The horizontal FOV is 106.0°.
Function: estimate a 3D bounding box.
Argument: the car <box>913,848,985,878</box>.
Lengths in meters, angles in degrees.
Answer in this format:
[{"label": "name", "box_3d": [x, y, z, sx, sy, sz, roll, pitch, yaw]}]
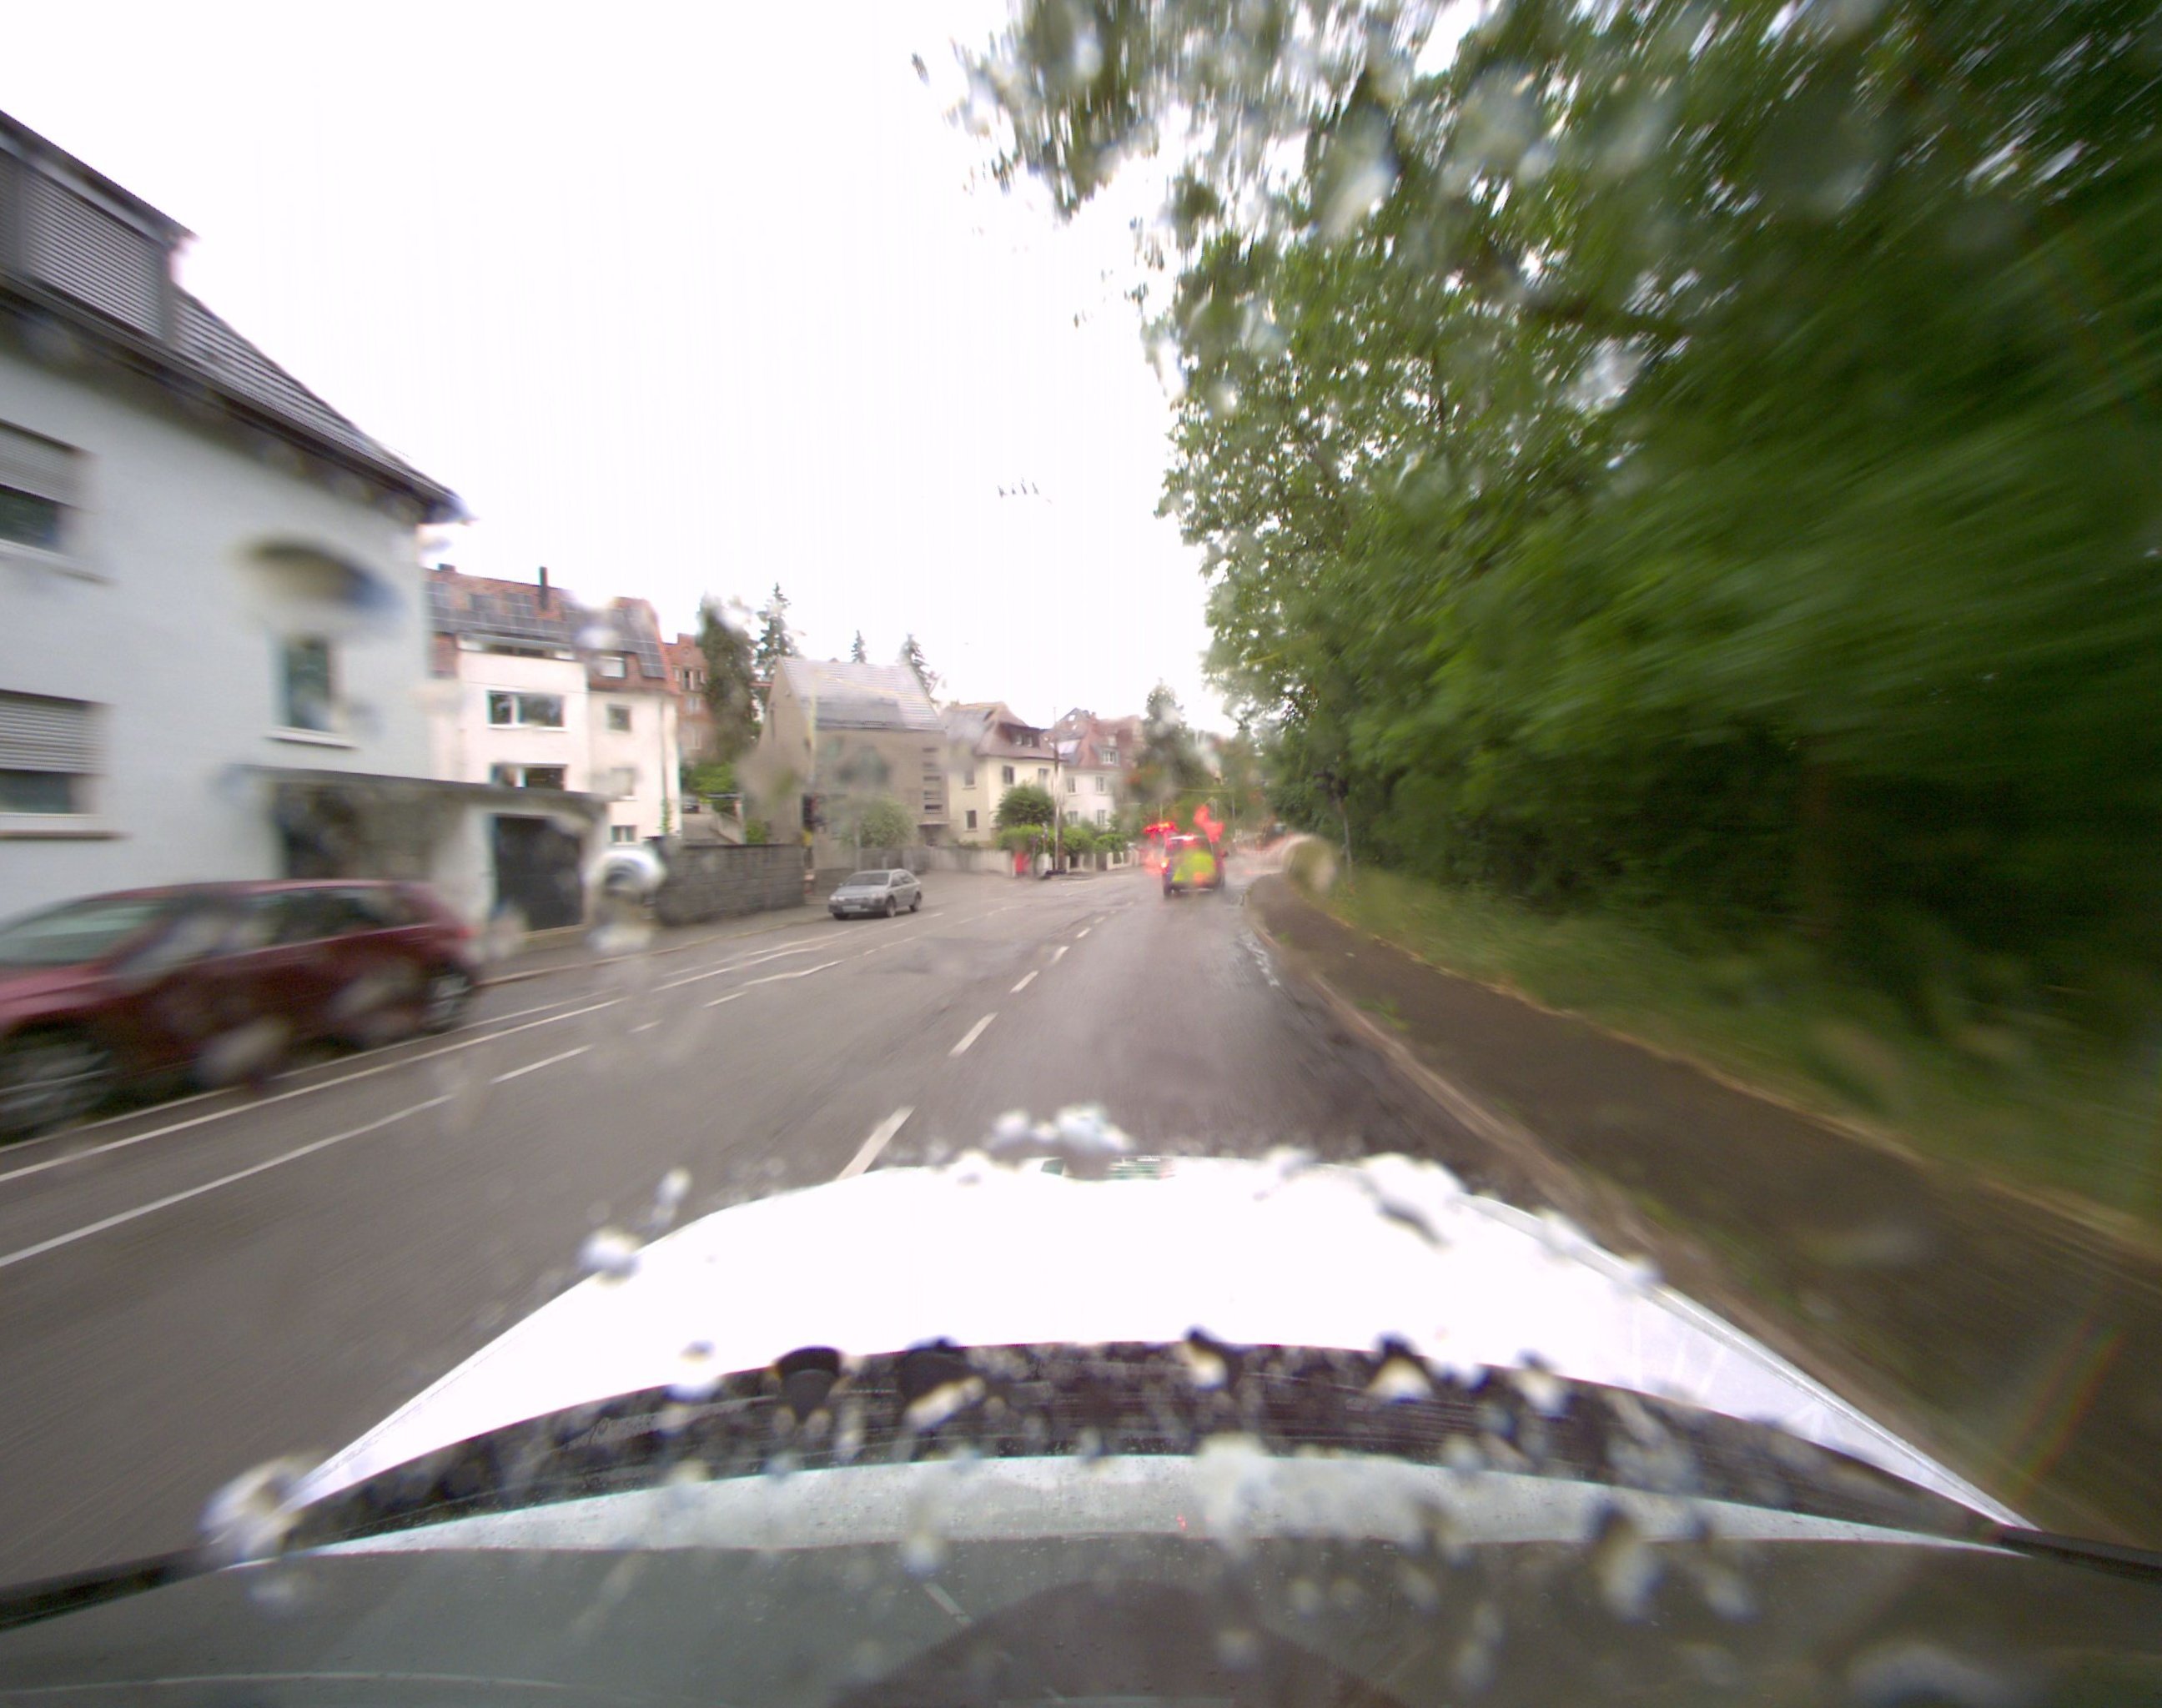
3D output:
[{"label": "car", "box_3d": [-6.844, 0.453, 41.999, 1.849, 1.443, 3.953, -2, 1, -40]}]

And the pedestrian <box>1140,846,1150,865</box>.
[{"label": "pedestrian", "box_3d": [4.896, 0.117, 62.663, 0.621, 1.522, 0.595, 0, -2, 18]}]

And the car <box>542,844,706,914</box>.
[{"label": "car", "box_3d": [-10.861, 0.550, 19.684, 1.769, 1.464, 3.618, -2, 0, 2]}]

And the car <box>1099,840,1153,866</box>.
[{"label": "car", "box_3d": [3.620, -0.045, 65.694, 3.949, 2.013, 1.841, -1, 0, 28]}]

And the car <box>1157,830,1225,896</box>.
[{"label": "car", "box_3d": [3.838, 0.259, 27.875, 1.981, 2.013, 4.415, -3, 0, 11]}]

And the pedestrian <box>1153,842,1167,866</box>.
[{"label": "pedestrian", "box_3d": [6.107, -0.002, 62.831, 0.883, 1.787, 0.832, 0, -2, 15]}]

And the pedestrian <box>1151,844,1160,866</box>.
[{"label": "pedestrian", "box_3d": [5.843, 0.055, 63.777, 0.621, 1.715, 0.595, 0, -2, 18]}]

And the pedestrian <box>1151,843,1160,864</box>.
[{"label": "pedestrian", "box_3d": [5.647, -0.006, 61.911, 0.558, 1.582, 0.470, 0, -2, 18]}]

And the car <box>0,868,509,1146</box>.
[{"label": "car", "box_3d": [-6.742, 0.920, 6.088, 1.608, 1.440, 4.237, -2, 1, 5]}]

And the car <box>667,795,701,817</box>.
[{"label": "car", "box_3d": [-31.095, -3.746, 63.766, 1.789, 1.464, 3.577, -2, 0, -35]}]
